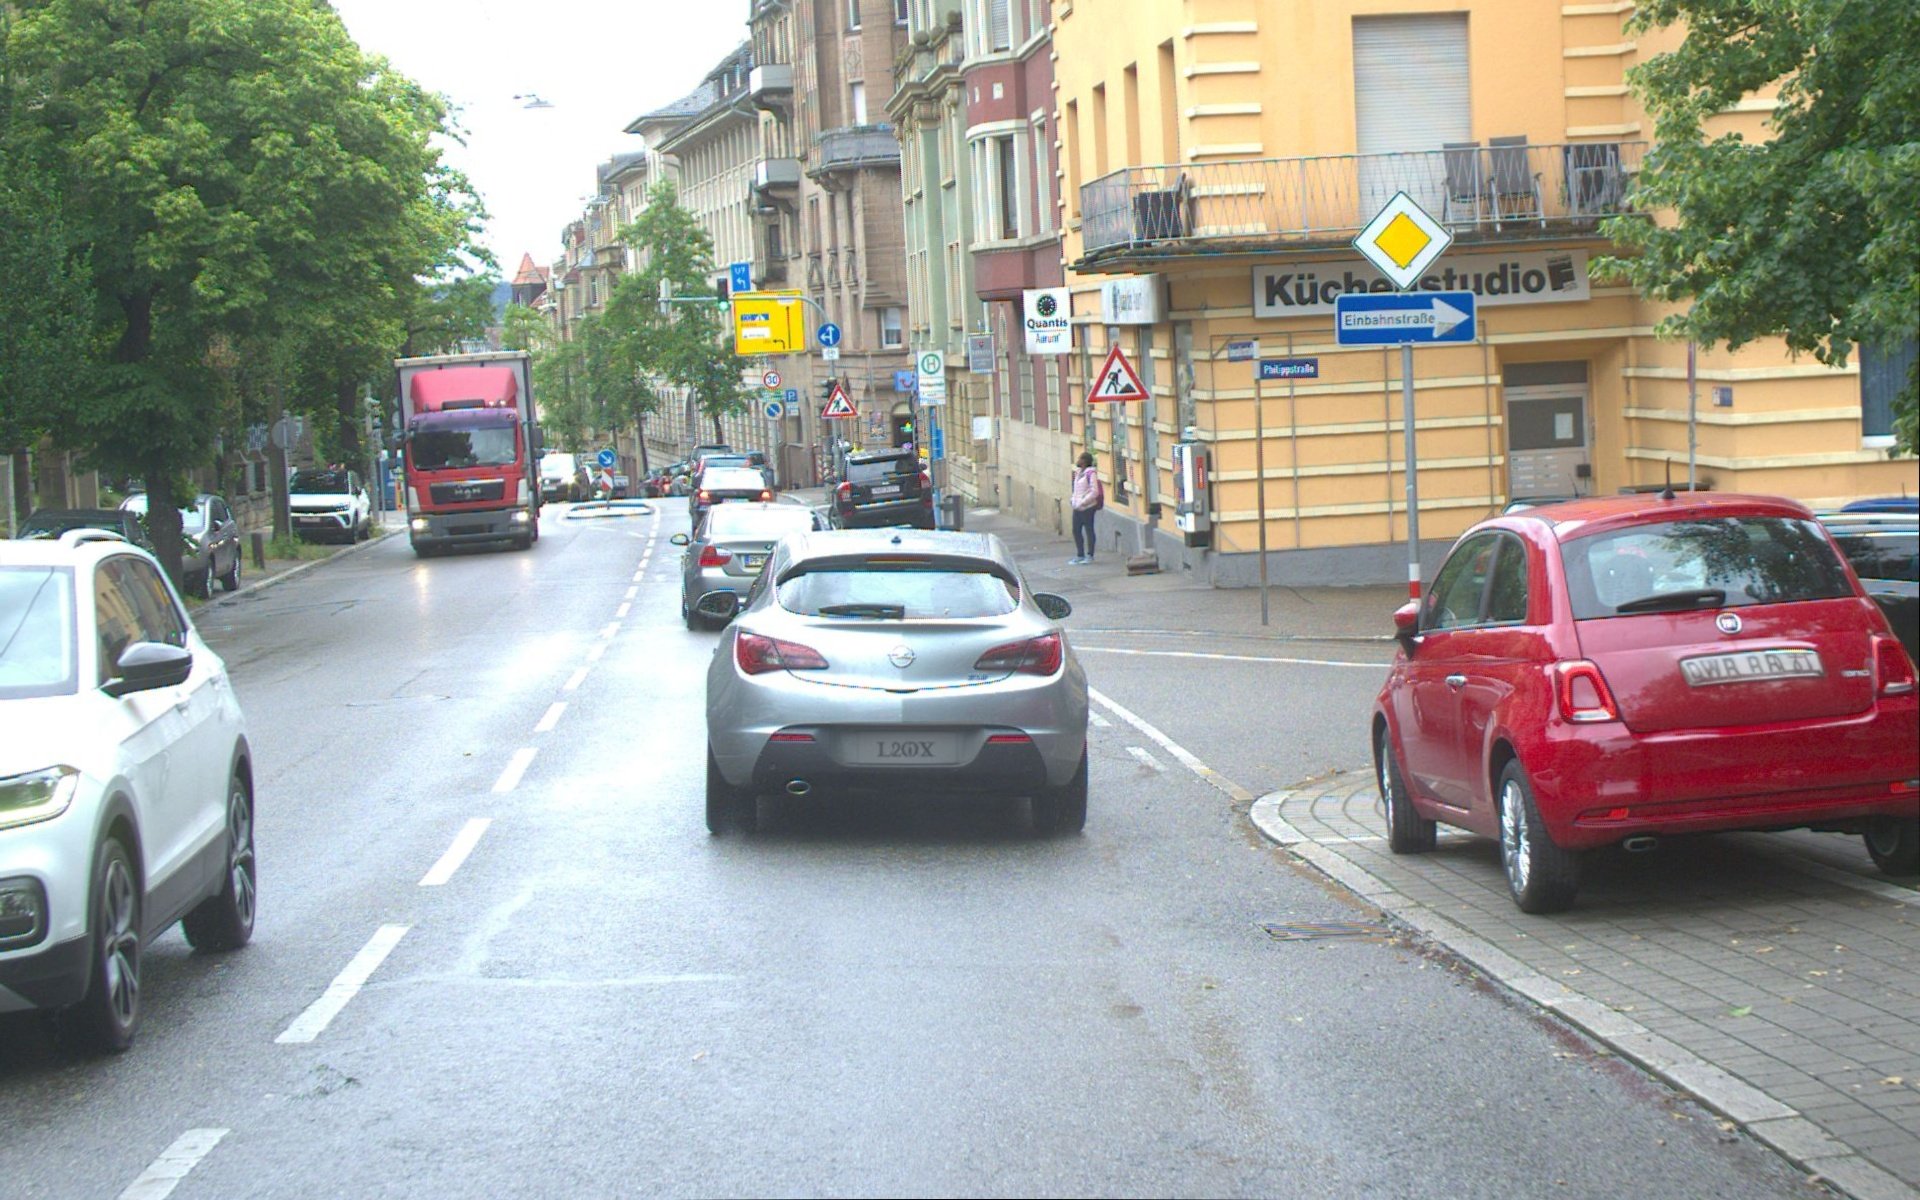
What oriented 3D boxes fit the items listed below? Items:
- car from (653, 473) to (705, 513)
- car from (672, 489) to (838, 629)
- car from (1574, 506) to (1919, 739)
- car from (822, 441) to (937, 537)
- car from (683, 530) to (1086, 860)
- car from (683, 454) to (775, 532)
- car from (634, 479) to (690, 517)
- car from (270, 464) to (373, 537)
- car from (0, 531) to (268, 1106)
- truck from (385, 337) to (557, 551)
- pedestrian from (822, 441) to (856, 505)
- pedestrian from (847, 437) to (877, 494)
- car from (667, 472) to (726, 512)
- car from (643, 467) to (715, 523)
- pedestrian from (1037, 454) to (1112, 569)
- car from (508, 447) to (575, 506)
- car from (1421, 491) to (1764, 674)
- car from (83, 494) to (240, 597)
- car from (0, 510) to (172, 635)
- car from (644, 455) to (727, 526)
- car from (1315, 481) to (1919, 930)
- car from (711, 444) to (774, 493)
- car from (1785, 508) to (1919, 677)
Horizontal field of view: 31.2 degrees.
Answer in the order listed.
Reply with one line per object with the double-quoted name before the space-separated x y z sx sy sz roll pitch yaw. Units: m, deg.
"car" -11.576 -4.389 141.585 1.638 1.515 3.184 -5 2 -11
"car" -2.327 -0.497 38.922 1.772 1.499 3.870 -1 2 -4
"car" 6.723 0.157 24.184 4.266 1.493 2.003 1 2 -9
"car" -1.570 -2.111 65.586 1.876 1.624 4.698 -5 2 -4
"car" -0.441 0.391 17.489 1.811 1.444 3.870 -1 2 -3
"car" -4.630 -2.144 69.053 1.772 1.499 3.870 -1 2 -4
"car" -12.802 -4.381 147.608 1.757 1.456 4.725 -5 2 -11
"car" -14.025 -2.197 75.706 1.741 1.554 4.303 0 2 -4
"car" -3.468 0.579 11.248 1.772 1.512 4.100 -2 2 -4
"truck" -9.654 -3.082 68.775 2.647 3.841 9.309 -4 2 -5
"pedestrian" -3.466 -3.641 98.495 0.718 1.768 0.665 -3 3 14
"pedestrian" -2.793 -3.834 98.263 0.597 1.579 0.665 -3 3 15
"car" -10.455 -4.264 136.314 1.695 1.426 4.424 -5 2 -11
"car" -8.377 -3.115 102.385 1.656 1.537 3.666 -4 2 -11
"pedestrian" 1.613 -1.249 48.522 0.766 1.584 0.712 -3 2 -23
"car" -12.319 -3.656 101.366 1.772 1.512 4.592 -2 4 -5
"car" 5.814 -0.196 31.216 1.852 1.464 4.104 -1 2 28
"car" -12.588 -0.889 54.422 1.741 1.554 4.303 0 2 -4
"car" -11.755 -0.408 46.364 1.741 1.554 4.303 1 1 -7
"car" -6.522 -2.578 81.431 1.656 1.537 3.666 -4 2 -7
"car" 2.623 0.312 14.013 1.609 1.496 3.959 -3 2 -4
"car" -7.640 -4.583 120.313 1.656 1.537 3.666 -4 2 -11
"car" 9.033 -0.050 32.346 1.705 1.487 3.631 1 0 26
